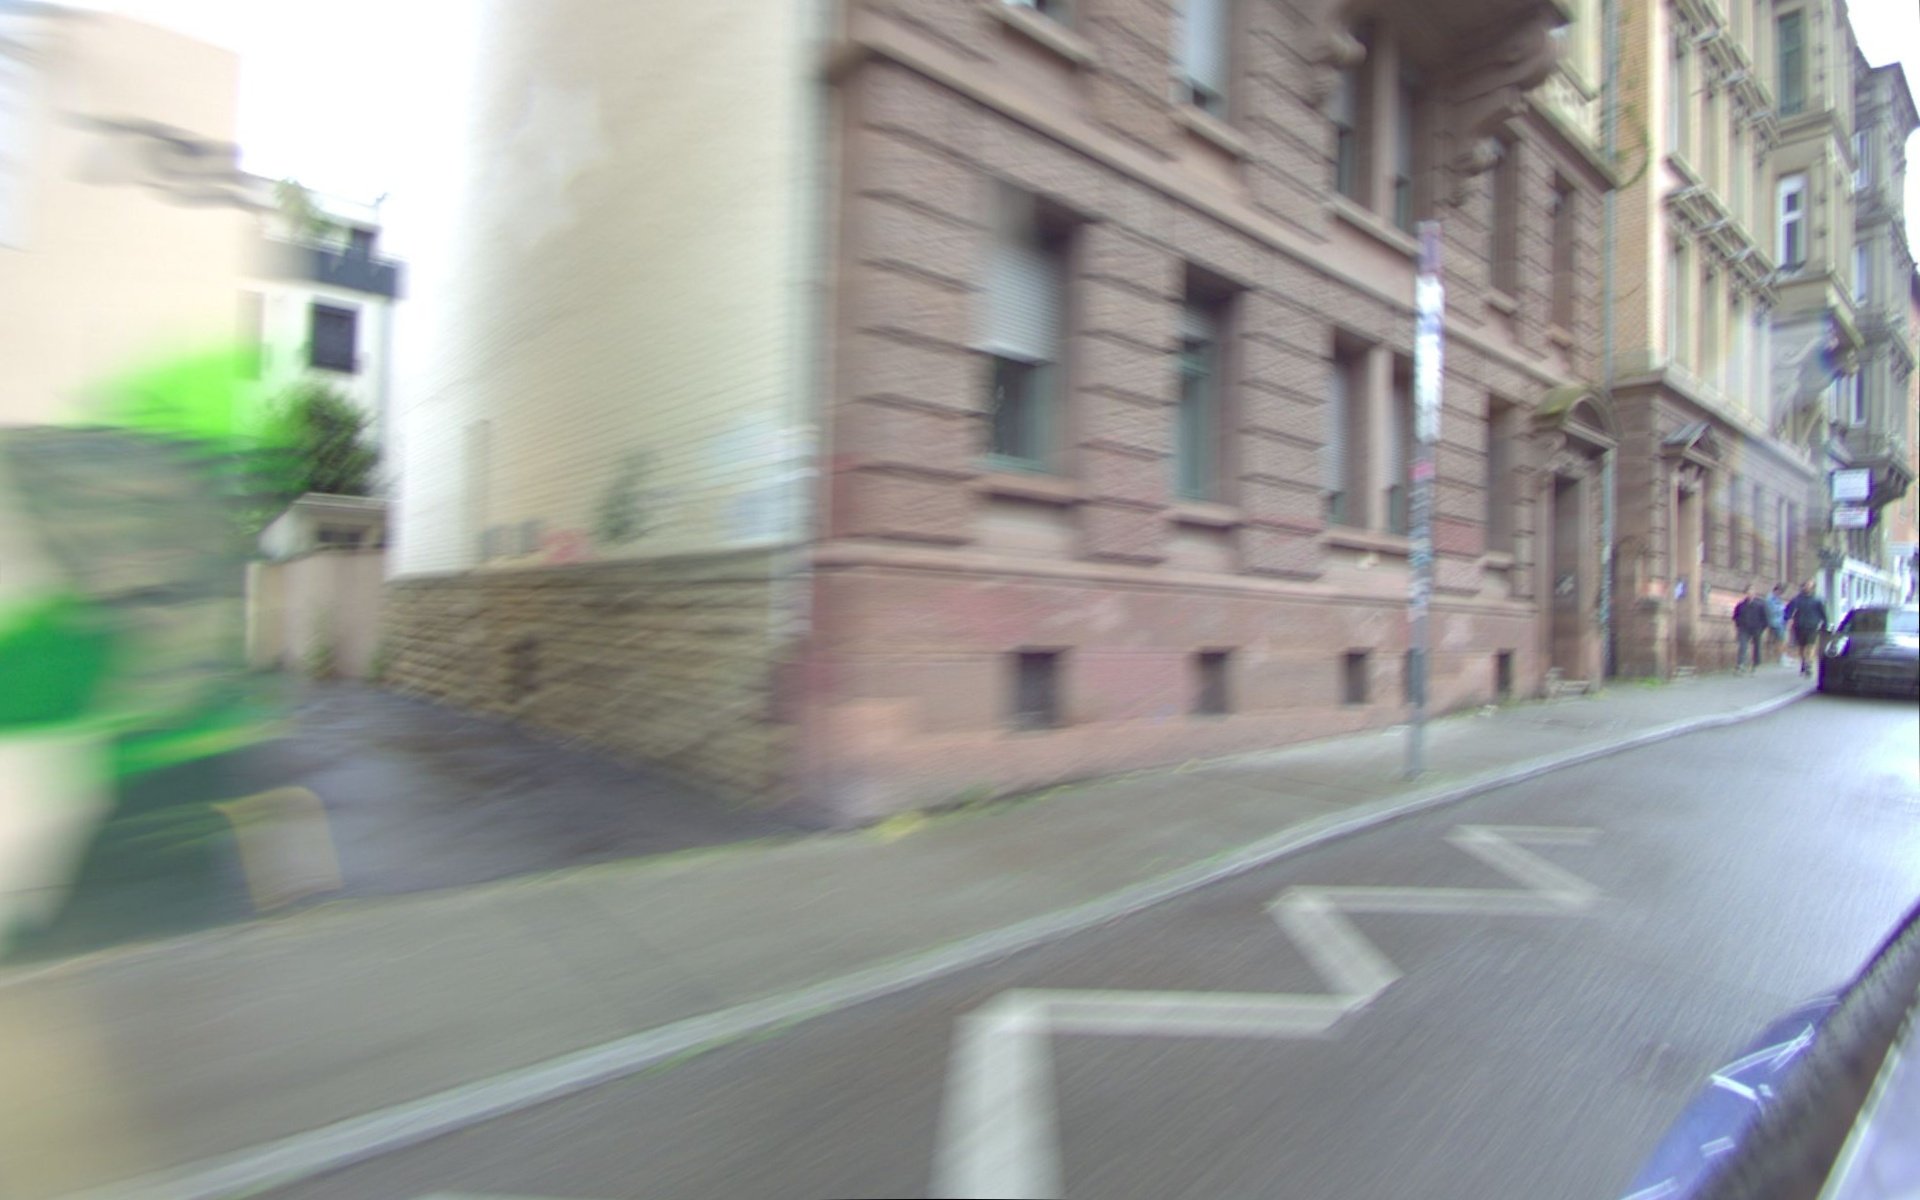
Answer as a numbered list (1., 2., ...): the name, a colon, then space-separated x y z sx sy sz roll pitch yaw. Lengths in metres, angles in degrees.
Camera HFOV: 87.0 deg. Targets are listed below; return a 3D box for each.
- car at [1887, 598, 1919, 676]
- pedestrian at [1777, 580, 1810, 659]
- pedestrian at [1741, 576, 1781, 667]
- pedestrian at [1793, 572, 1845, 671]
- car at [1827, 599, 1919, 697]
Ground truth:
1. car: 19.419 0.695 19.789 3.764 1.431 1.586 0 1 -43
2. pedestrian: 17.907 0.413 21.753 0.456 1.665 0.484 0 1 -45
3. pedestrian: 14.935 0.384 18.873 0.621 1.665 0.488 0 1 -45
4. pedestrian: 15.986 0.385 18.834 0.868 1.784 0.652 0 1 -45
5. car: 14.994 0.695 15.915 3.764 1.368 1.626 0 1 -43
